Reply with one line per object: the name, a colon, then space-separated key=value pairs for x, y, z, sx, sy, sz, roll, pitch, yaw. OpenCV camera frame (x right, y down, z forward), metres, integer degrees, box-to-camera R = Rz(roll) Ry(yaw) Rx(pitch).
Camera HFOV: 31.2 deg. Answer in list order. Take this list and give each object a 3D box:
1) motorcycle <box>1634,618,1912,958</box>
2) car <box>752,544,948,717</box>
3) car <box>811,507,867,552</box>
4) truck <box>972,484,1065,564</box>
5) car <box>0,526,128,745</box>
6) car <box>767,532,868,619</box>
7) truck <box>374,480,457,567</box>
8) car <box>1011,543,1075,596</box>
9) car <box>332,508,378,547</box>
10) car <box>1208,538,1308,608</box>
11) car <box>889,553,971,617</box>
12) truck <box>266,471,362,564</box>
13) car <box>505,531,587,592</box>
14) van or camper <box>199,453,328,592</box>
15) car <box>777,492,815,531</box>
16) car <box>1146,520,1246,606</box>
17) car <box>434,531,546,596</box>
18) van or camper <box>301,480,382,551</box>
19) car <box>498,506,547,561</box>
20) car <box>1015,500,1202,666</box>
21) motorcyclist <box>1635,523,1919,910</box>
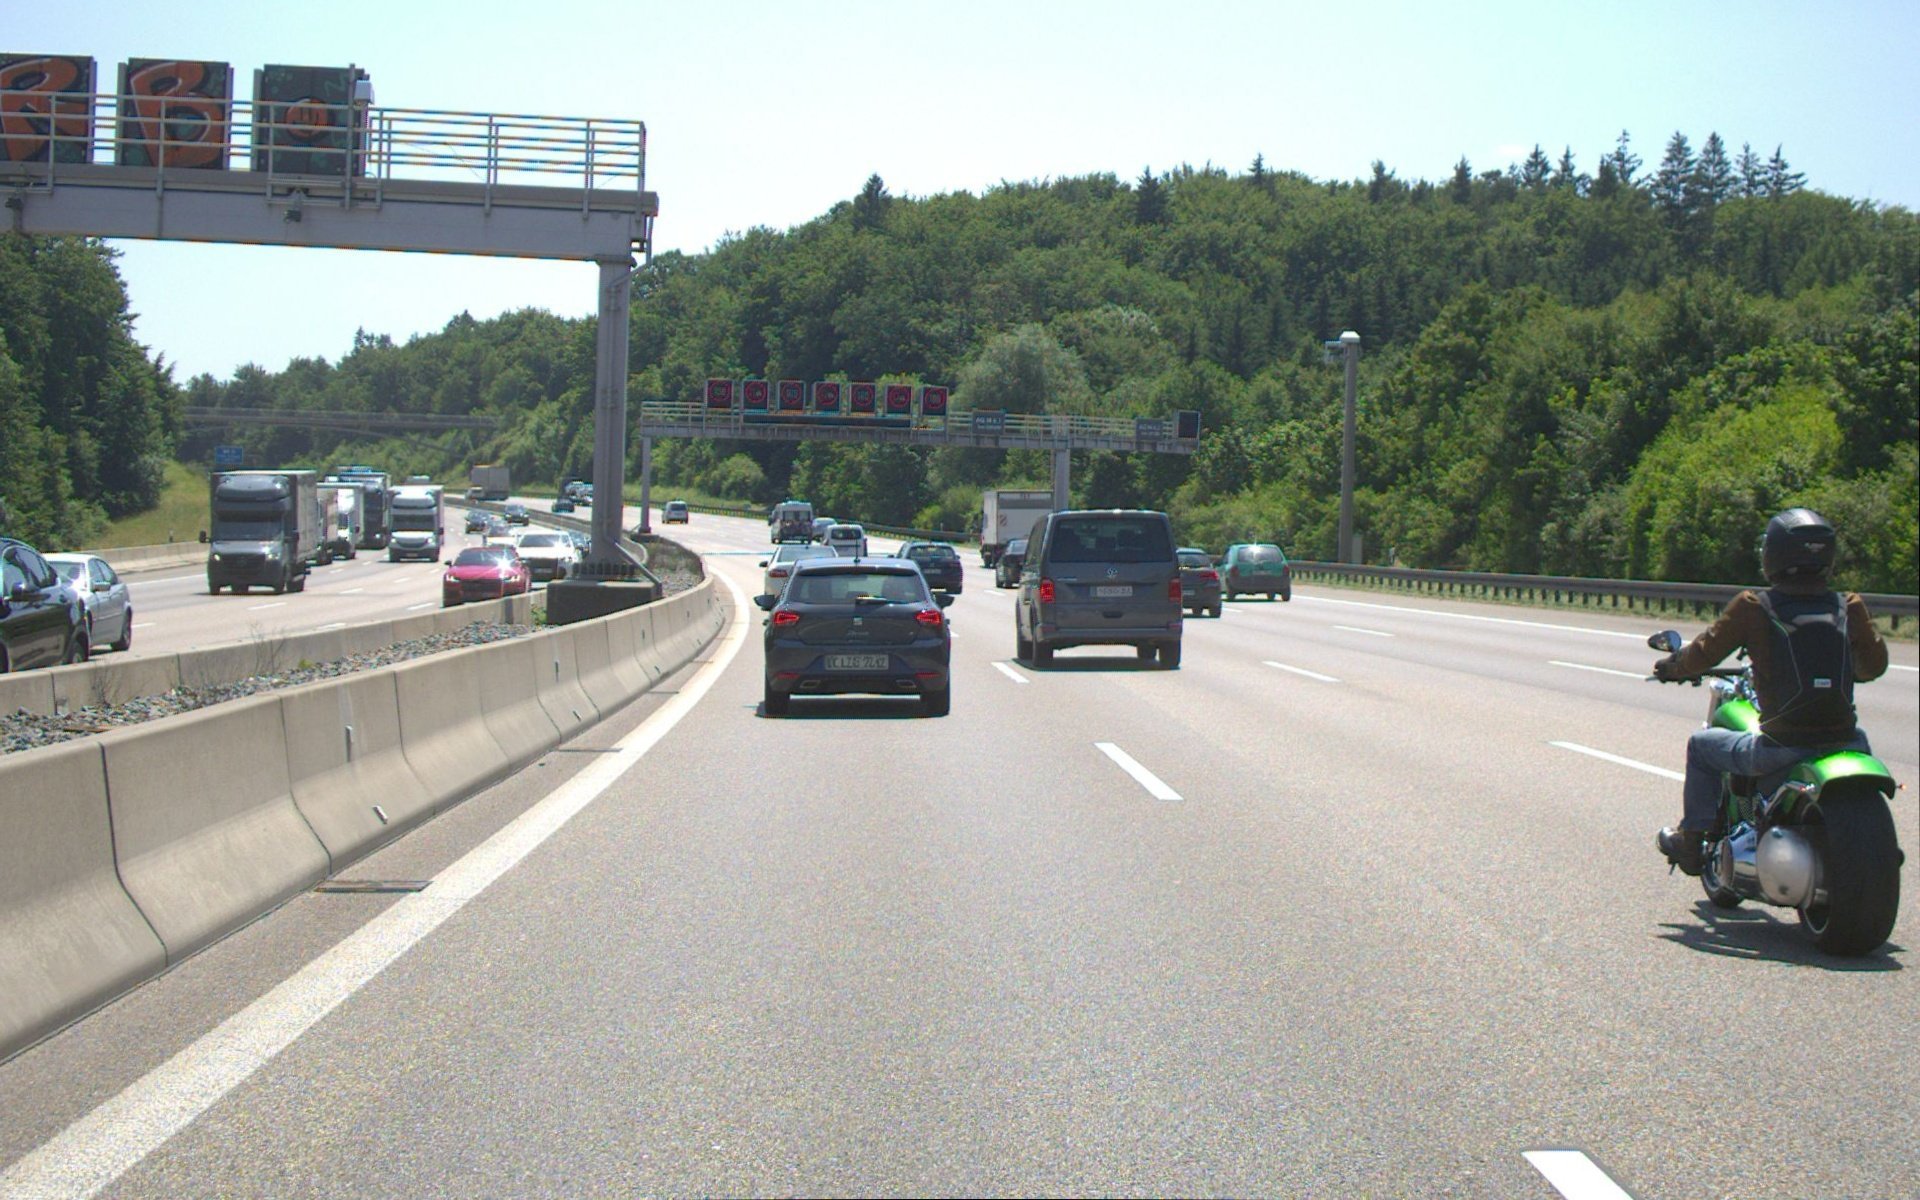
motorcycle: x=3.141 y=0.679 z=13.493 sx=0.535 sy=1.131 sz=2.437 roll=0 pitch=2 yaw=1
car: x=-1.024 y=0.240 z=32.398 sx=1.708 sy=1.428 sz=4.001 roll=1 pitch=2 yaw=-1
car: x=-4.983 y=-2.903 z=141.040 sx=2.103 sy=1.738 sz=4.689 roll=0 pitch=2 yaw=-4
truck: x=2.417 y=-3.228 z=144.290 sx=2.985 sy=3.155 sz=7.577 roll=0 pitch=2 yaw=-6
car: x=-8.195 y=0.252 z=27.593 sx=1.826 sy=1.656 sz=4.916 roll=1 pitch=0 yaw=0
car: x=-3.158 y=-0.527 z=76.921 sx=2.012 sy=1.839 sz=4.000 roll=0 pitch=-1 yaw=1
truck: x=-24.481 y=-3.425 z=154.834 sx=2.931 sy=3.791 sz=9.345 roll=0 pitch=1 yaw=-4
car: x=2.469 y=-0.936 z=103.059 sx=1.665 sy=1.403 sz=4.904 roll=1 pitch=2 yaw=-1
car: x=-32.936 y=-3.923 z=187.252 sx=1.993 sy=2.007 sz=4.000 roll=1 pitch=0 yaw=-3
car: x=7.501 y=-0.685 z=86.941 sx=1.993 sy=1.722 sz=4.000 roll=0 pitch=1 yaw=-3
car: x=-0.856 y=-0.432 z=95.099 sx=1.993 sy=1.722 sz=4.150 roll=0 pitch=1 yaw=-4
truck: x=-27.261 y=-3.427 z=145.440 sx=2.869 sy=3.684 sz=9.242 roll=1 pitch=0 yaw=-4
car: x=-12.005 y=-1.133 z=99.927 sx=1.993 sy=1.722 sz=4.000 roll=0 pitch=1 yaw=-2
van or camper: x=-19.014 y=-2.106 z=94.238 sx=2.430 sy=3.665 sz=7.760 roll=0 pitch=1 yaw=-4
car: x=-10.035 y=-5.409 z=210.207 sx=2.265 sy=2.363 sz=4.702 roll=0 pitch=1 yaw=-2
car: x=4.833 y=-0.771 z=70.844 sx=1.849 sy=1.722 sz=4.000 roll=0 pitch=1 yaw=1
car: x=-10.740 y=-0.865 z=78.848 sx=2.047 sy=1.437 sz=5.221 roll=0 pitch=1 yaw=-2
van or camper: x=-29.064 y=-3.933 z=161.740 sx=2.764 sy=3.114 sz=8.095 roll=1 pitch=0 yaw=-4
car: x=-20.965 y=-3.158 z=164.867 sx=1.993 sy=2.566 sz=4.170 roll=1 pitch=1 yaw=-3
car: x=1.859 y=-0.244 z=44.567 sx=1.962 sy=2.026 sz=5.084 roll=0 pitch=1 yaw=-3
motorcyclist: x=3.118 y=0.420 z=13.212 sx=0.852 sy=1.422 sz=1.023 roll=0 pitch=1 yaw=1
